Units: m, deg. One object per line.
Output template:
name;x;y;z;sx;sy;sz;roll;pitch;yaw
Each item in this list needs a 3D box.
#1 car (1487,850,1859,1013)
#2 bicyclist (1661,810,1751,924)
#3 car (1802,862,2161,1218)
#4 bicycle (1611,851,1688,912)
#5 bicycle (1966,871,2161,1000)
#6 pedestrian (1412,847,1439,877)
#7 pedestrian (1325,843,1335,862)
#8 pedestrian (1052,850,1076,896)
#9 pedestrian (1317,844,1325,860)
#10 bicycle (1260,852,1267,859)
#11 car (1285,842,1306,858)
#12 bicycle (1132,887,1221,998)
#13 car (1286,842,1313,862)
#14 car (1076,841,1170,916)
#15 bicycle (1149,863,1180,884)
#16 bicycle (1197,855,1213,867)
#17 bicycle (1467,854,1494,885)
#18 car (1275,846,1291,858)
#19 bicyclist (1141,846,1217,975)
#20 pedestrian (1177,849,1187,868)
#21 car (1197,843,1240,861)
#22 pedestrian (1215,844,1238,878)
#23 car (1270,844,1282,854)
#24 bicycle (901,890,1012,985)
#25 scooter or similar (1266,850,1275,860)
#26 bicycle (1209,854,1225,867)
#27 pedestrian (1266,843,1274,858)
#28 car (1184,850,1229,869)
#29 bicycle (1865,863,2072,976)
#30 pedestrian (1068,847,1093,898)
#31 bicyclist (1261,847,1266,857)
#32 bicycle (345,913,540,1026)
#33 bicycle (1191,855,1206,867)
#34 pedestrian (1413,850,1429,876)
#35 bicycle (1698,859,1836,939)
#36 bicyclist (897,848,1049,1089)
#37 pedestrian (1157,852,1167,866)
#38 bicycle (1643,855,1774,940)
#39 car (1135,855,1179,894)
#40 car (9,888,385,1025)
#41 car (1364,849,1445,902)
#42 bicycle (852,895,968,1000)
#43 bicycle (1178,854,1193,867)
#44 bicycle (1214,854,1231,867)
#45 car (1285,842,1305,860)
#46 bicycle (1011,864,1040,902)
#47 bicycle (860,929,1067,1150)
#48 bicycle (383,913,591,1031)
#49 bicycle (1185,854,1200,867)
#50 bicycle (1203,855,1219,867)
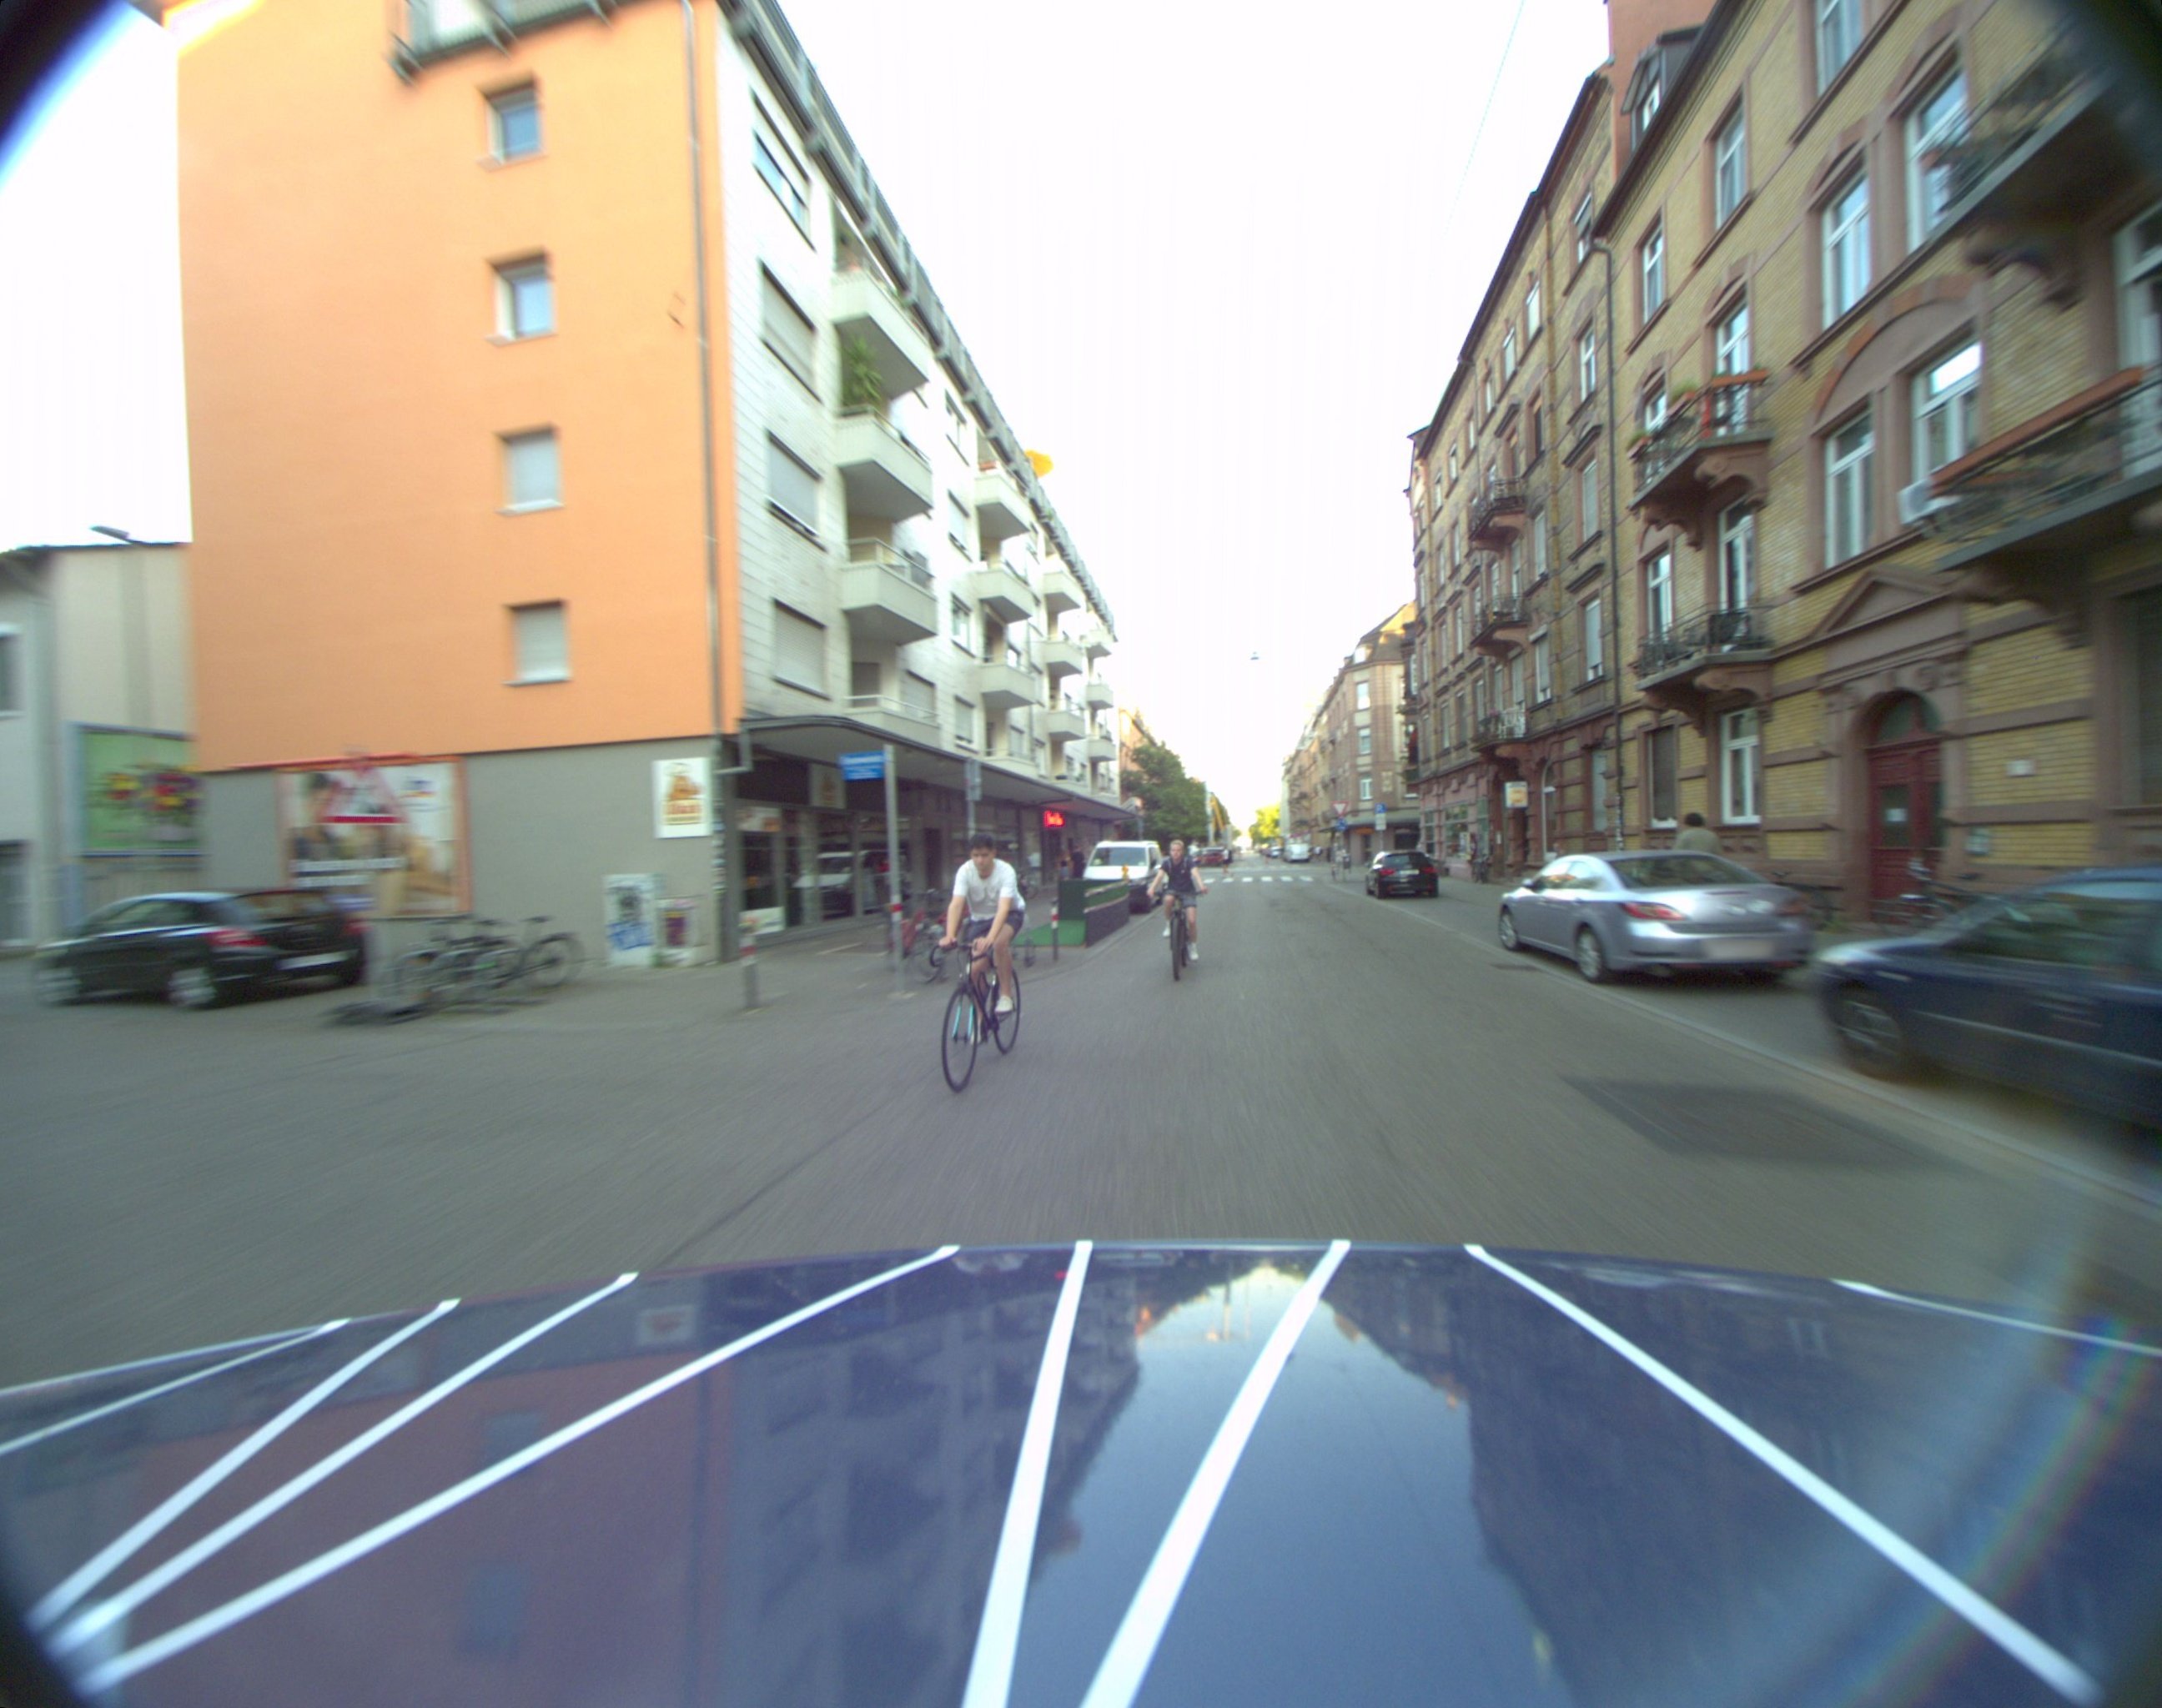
car;6.643;0.725;9.286;1.725;1.412;4.585;-3;0;12
bicyclist;9.907;0.198;12.073;0.709;1.720;0.843;-3;2;4
car;5.403;0.806;3.306;1.587;1.412;3.700;-3;0;13
bicycle;11.879;0.541;15.945;0.528;1.164;2.050;-4;0;15
bicycle;9.766;0.726;7.363;0.550;1.031;1.761;-5;-1;13
pedestrian;15.308;0.369;33.792;0.649;1.247;0.908;-5;0;-3
pedestrian;23.358;-0.127;71.247;0.654;1.768;0.693;-3;-1;30
pedestrian;-0.618;0.674;28.025;0.709;1.656;0.745;0;2;12
pedestrian;25.668;-0.208;81.264;0.748;1.733;1.214;-3;1;17
bicycle;30.982;0.200;128.974;0.754;1.124;1.977;-2;0;6
car;25.717;-0.462;91.291;2.139;1.811;4.544;-3;0;13
bicycle;1.284;1.061;9.729;0.793;1.133;2.345;-3;-1;14
car;22.805;-0.239;79.432;2.139;1.946;4.773;-3;0;11
car;1.379;0.628;22.516;1.961;1.962;5.007;0;0;13
bicycle;4.183;0.972;37.991;1.480;0.996;0.511;0;2;19
bicycle;11.760;0.634;72.173;0.666;1.125;2.113;0;0;-15
bicycle;14.111;0.527;26.866;0.426;1.047;1.900;-2;0;16
car;31.662;-0.344;119.059;2.139;1.811;4.544;-3;0;13
bicyclist;1.273;0.706;9.762;0.793;1.562;0.827;-3;0;14
pedestrian;8.836;0.390;66.513;0.537;1.597;0.870;-1;-1;39
car;18.633;-0.257;103.205;5.148;2.182;2.336;-3;1;-13
pedestrian;8.092;0.407;42.290;1.047;1.800;0.757;-3;-2;23
car;35.446;-0.917;138.210;1.996;1.729;4.003;-3;1;15
bicycle;-1.829;1.145;10.923;0.658;1.128;1.939;-1;2;-41
scooter or similar;21.937;0.086;87.983;0.809;1.098;1.173;-1;0;7
bicycle;12.967;0.624;72.745;0.666;1.162;2.113;0;0;-15
pedestrian;21.926;-0.394;87.978;0.809;1.650;0.673;-1;0;7
car;12.419;0.509;75.217;4.003;1.658;1.825;-3;1;-19
bicycle;10.074;0.692;8.732;0.550;1.117;1.761;-5;-1;13
pedestrian;-0.008;0.655;27.816;0.709;1.818;0.861;0;2;12
bicyclist;30.960;-0.269;128.975;0.754;1.630;1.202;-2;0;6
bicycle;-7.746;1.351;9.333;0.563;1.061;1.758;-1;2;17
bicycle;11.103;0.623;71.948;0.666;1.125;2.113;0;0;-15
pedestrian;15.553;0.427;34.801;0.504;1.137;0.792;-3;2;14
bicycle;10.582;0.660;11.803;0.739;1.117;1.611;-3;0;6
bicyclist;-0.712;0.732;5.300;0.649;1.500;0.954;-2;2;15
pedestrian;7.788;0.461;73.214;0.721;1.297;0.751;-2;0;-7
bicycle;9.931;0.653;12.115;0.709;1.189;1.742;-3;1;4
car;3.219;0.818;31.690;1.595;1.492;3.426;0;1;10
car;-11.630;1.293;10.086;3.673;1.467;1.707;-2;2;14
car;9.852;0.611;23.385;1.696;1.412;3.858;-3;0;15
bicycle;-2.302;1.171;10.062;0.658;1.128;1.939;-1;2;-41
bicycle;9.817;0.603;71.612;0.666;1.158;2.113;0;0;-15
bicycle;13.494;0.623;72.502;0.666;1.162;2.113;0;0;-15
car;24.004;-0.316;85.460;1.877;1.892;4.330;-3;0;13
bicycle;-1.852;0.964;25.624;0.912;1.189;1.711;0;1;-1
bicycle;-0.702;1.154;5.295;0.657;1.012;1.919;-3;1;15
bicycle;-7.091;1.350;9.219;0.563;1.061;1.965;-1;2;17
bicycle;10.530;0.612;71.778;0.666;1.158;2.113;0;0;-15
bicycle;12.393;0.638;72.389;0.666;1.125;2.113;0;0;-15
